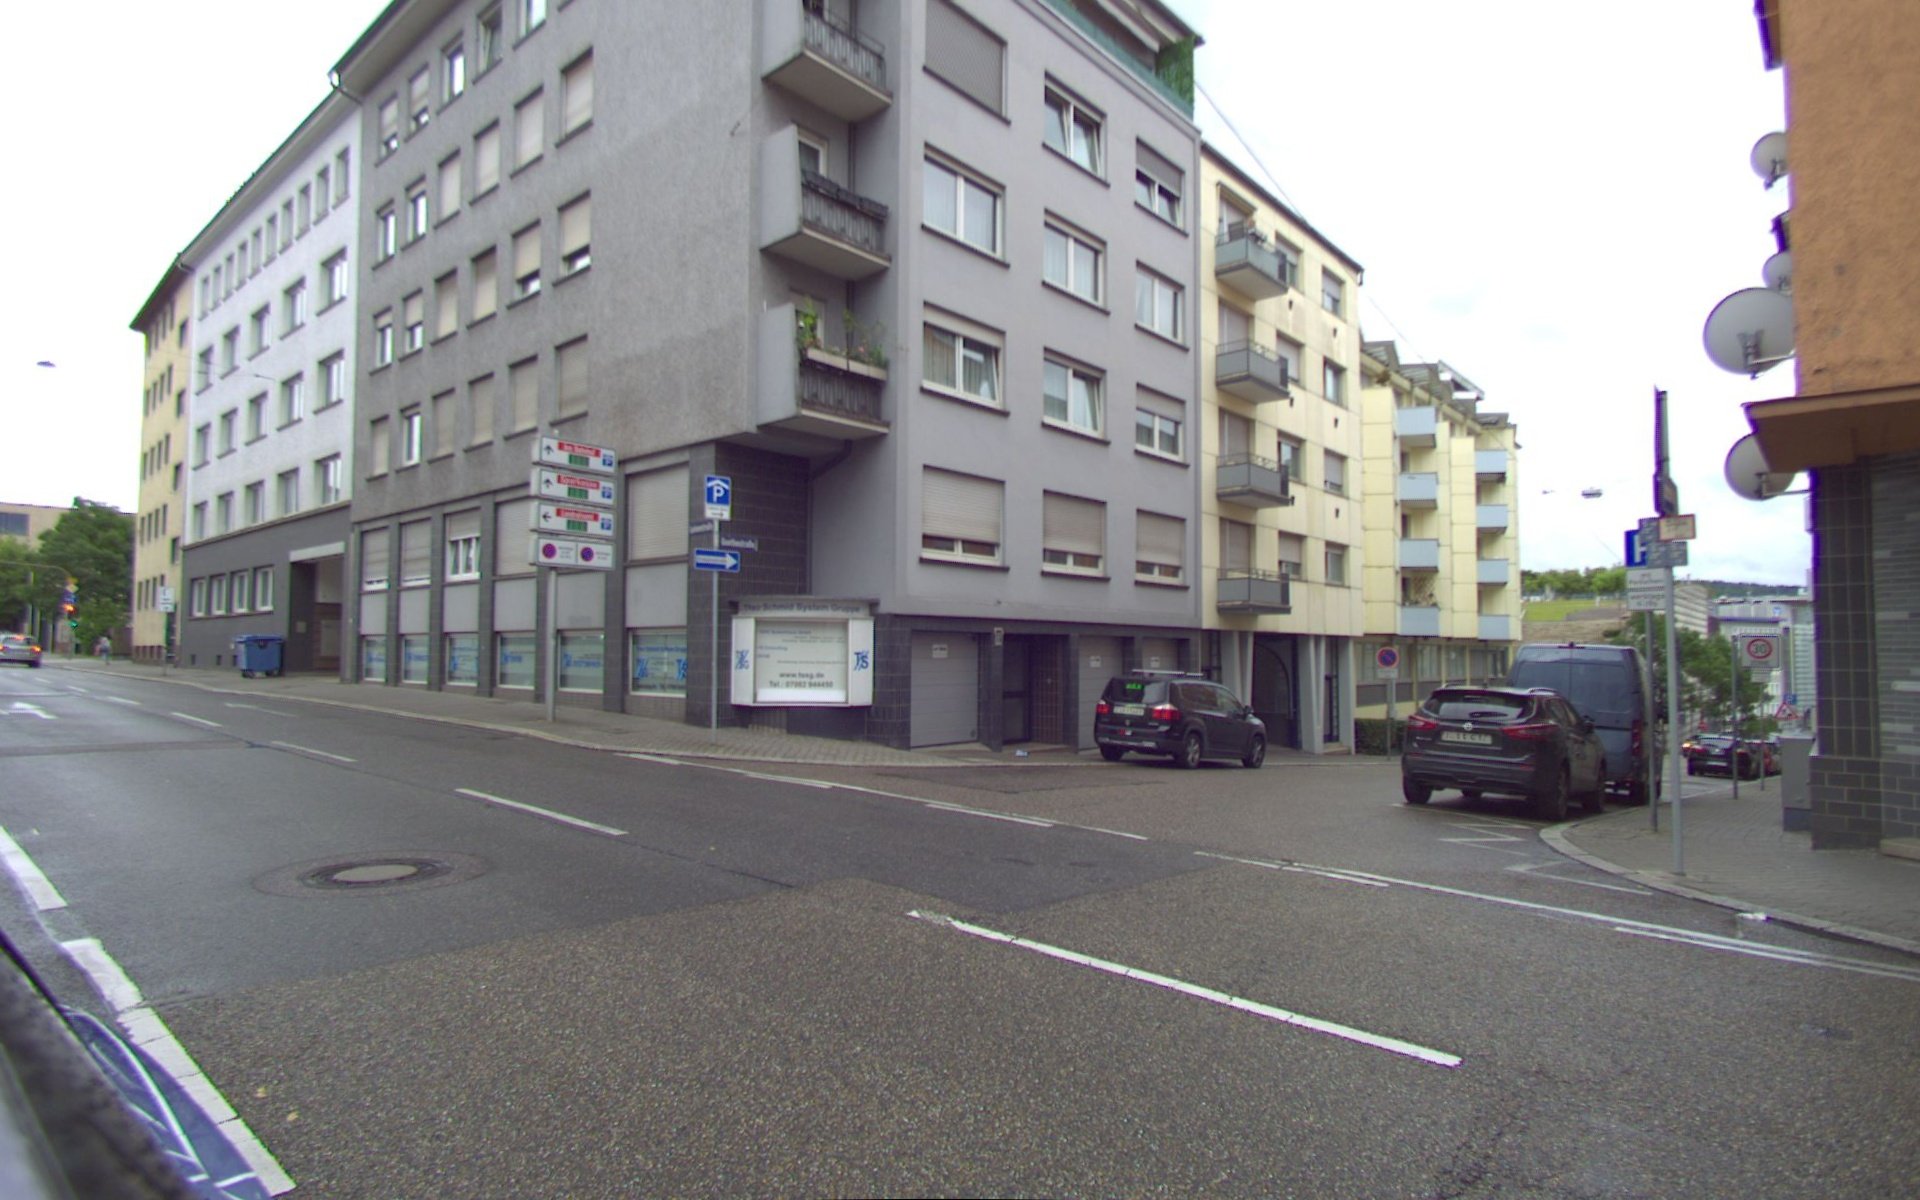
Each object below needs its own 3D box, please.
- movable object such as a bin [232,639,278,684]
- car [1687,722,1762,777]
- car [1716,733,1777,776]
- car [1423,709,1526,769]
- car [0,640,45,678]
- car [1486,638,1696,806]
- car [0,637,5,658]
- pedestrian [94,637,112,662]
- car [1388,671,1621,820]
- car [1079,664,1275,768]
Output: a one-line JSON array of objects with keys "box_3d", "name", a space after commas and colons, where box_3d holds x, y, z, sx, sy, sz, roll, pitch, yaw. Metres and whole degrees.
[{"box_3d": [-22.048, 1.909, 31.630, 1.096, 1.343, 0.933, -2, 0, 41], "name": "movable object such as a bin"}, {"box_3d": [26.824, 5.255, 35.470, 1.817, 1.688, 3.998, -1, -8, 41], "name": "car"}, {"box_3d": [32.011, 6.284, 41.178, 1.722, 1.506, 3.998, -1, -8, 41], "name": "car"}, {"box_3d": [15.418, 4.159, 30.231, 1.840, 1.559, 3.945, -1, -7, 41], "name": "car"}, {"box_3d": [-43.108, 2.625, 45.887, 4.371, 1.602, 1.858, -1, -3, 41], "name": "car"}, {"box_3d": [11.399, 2.164, 18.044, 2.249, 2.481, 5.975, -1, -7, 41], "name": "car"}, {"box_3d": [-84.157, 4.100, 86.239, 2.001, 1.759, 3.941, -1, 0, 45], "name": "car"}, {"box_3d": [-40.515, 2.333, 47.847, 0.574, 1.158, 0.408, 5, -5, -37], "name": "pedestrian"}, {"box_3d": [7.308, 1.906, 13.376, 1.842, 1.589, 4.098, -1, -8, 41], "name": "car"}, {"box_3d": [4.209, 2.237, 19.159, 1.794, 1.700, 4.186, -1, -8, 41], "name": "car"}]
